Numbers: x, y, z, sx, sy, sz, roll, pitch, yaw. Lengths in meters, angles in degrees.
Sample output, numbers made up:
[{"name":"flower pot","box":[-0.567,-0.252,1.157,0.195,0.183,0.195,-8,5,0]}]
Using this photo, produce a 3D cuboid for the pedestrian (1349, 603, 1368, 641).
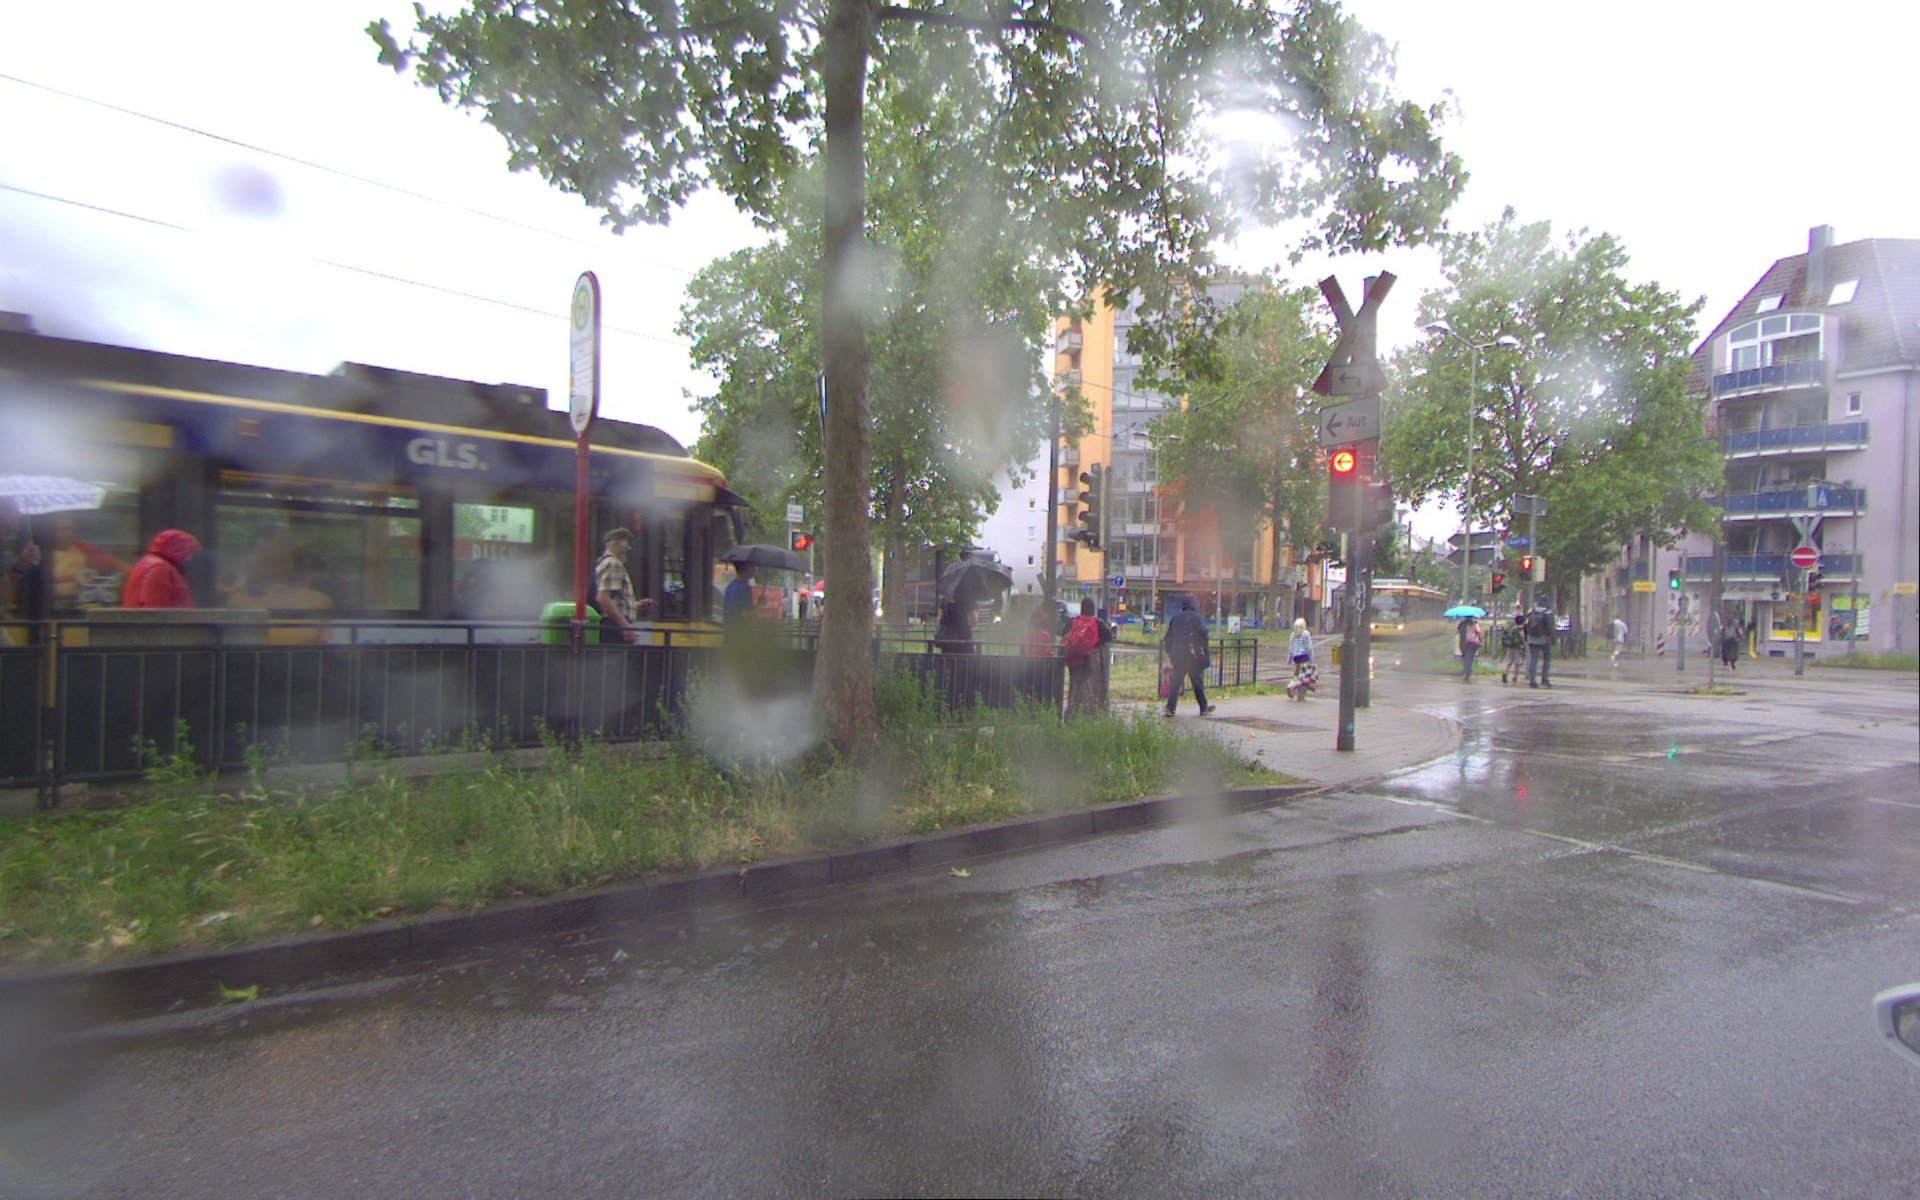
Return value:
[{"name":"pedestrian","box":[23.299,1.304,58.756,0.871,2.179,0.910,2,0,29]}]

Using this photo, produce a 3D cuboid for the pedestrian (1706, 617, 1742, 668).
[{"name":"pedestrian","box":[24.155,1.337,31.762,0.785,1.553,0.743,2,0,-41]}]

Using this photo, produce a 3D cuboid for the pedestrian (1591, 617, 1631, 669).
[{"name":"pedestrian","box":[20.537,1.355,31.682,0.956,1.622,0.670,2,0,-30]}]

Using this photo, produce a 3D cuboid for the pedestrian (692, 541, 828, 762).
[{"name":"pedestrian","box":[-1.835,0.442,9.218,0.885,1.889,0.861,1,1,-41]}]

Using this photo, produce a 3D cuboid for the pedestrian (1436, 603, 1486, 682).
[{"name":"pedestrian","box":[11.768,0.974,23.567,0.943,1.789,0.951,2,0,31]}]

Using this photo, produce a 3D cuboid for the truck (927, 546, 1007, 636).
[{"name":"truck","box":[0.258,-0.389,46.056,2.593,3.842,4.444,2,0,-13]}]

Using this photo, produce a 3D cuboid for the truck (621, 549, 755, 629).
[{"name":"truck","box":[-11.767,-0.435,43.626,5.383,3.205,2.164,2,0,-16]}]

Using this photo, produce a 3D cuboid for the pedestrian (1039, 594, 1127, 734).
[{"name":"pedestrian","box":[1.504,0.754,12.321,0.809,1.646,0.724,0,0,-37]}]

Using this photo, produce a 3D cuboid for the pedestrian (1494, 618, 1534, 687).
[{"name":"pedestrian","box":[11.749,1.096,21.298,0.640,1.414,0.780,1,0,35]}]

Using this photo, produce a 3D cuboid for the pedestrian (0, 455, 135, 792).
[{"name":"pedestrian","box":[-5.572,0.140,5.897,1.068,1.851,0.974,-2,0,-41]}]

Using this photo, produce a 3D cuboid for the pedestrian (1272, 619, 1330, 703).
[{"name":"pedestrian","box":[5.783,1.012,17.039,0.704,1.367,0.650,1,1,-44]}]

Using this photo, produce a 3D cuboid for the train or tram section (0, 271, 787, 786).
[{"name":"train or tram section","box":[-7.970,-0.527,7.782,13.613,3.593,2.834,2,0,-42]}]

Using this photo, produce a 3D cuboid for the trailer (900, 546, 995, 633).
[{"name":"trailer","box":[-0.835,-0.464,50.747,2.593,3.899,10.114,2,0,-13]}]

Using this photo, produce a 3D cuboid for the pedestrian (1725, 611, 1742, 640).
[{"name":"pedestrian","box":[36.227,1.180,47.017,0.442,1.347,0.554,2,0,-45]}]

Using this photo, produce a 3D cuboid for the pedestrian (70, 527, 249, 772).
[{"name":"pedestrian","box":[-5.564,0.333,6.996,0.783,1.593,0.659,-2,0,24]}]

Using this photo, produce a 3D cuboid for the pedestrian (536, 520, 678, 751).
[{"name":"pedestrian","box":[-2.925,0.272,8.320,0.824,1.778,0.857,1,1,-42]}]

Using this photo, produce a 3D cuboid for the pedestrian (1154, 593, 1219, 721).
[{"name":"pedestrian","box":[3.160,0.767,13.972,0.823,1.722,0.689,-1,0,17]}]

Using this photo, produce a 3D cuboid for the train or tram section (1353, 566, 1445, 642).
[{"name":"train or tram section","box":[26.000,0.366,58.787,2.839,3.818,17.211,2,0,30]}]

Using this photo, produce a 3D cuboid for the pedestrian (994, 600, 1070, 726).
[{"name":"pedestrian","box":[0.912,0.779,12.778,0.653,1.540,0.676,1,0,-38]}]

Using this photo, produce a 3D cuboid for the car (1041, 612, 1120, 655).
[{"name":"car","box":[4.783,1.303,40.480,1.585,1.551,4.017,1,1,-19]}]

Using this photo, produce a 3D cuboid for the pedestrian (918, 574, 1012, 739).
[{"name":"pedestrian","box":[0.063,0.595,10.856,0.783,1.705,0.659,-2,0,23]}]

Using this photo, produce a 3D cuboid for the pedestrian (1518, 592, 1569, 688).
[{"name":"pedestrian","box":[11.813,0.794,20.345,0.777,1.880,0.679,2,1,37]}]
